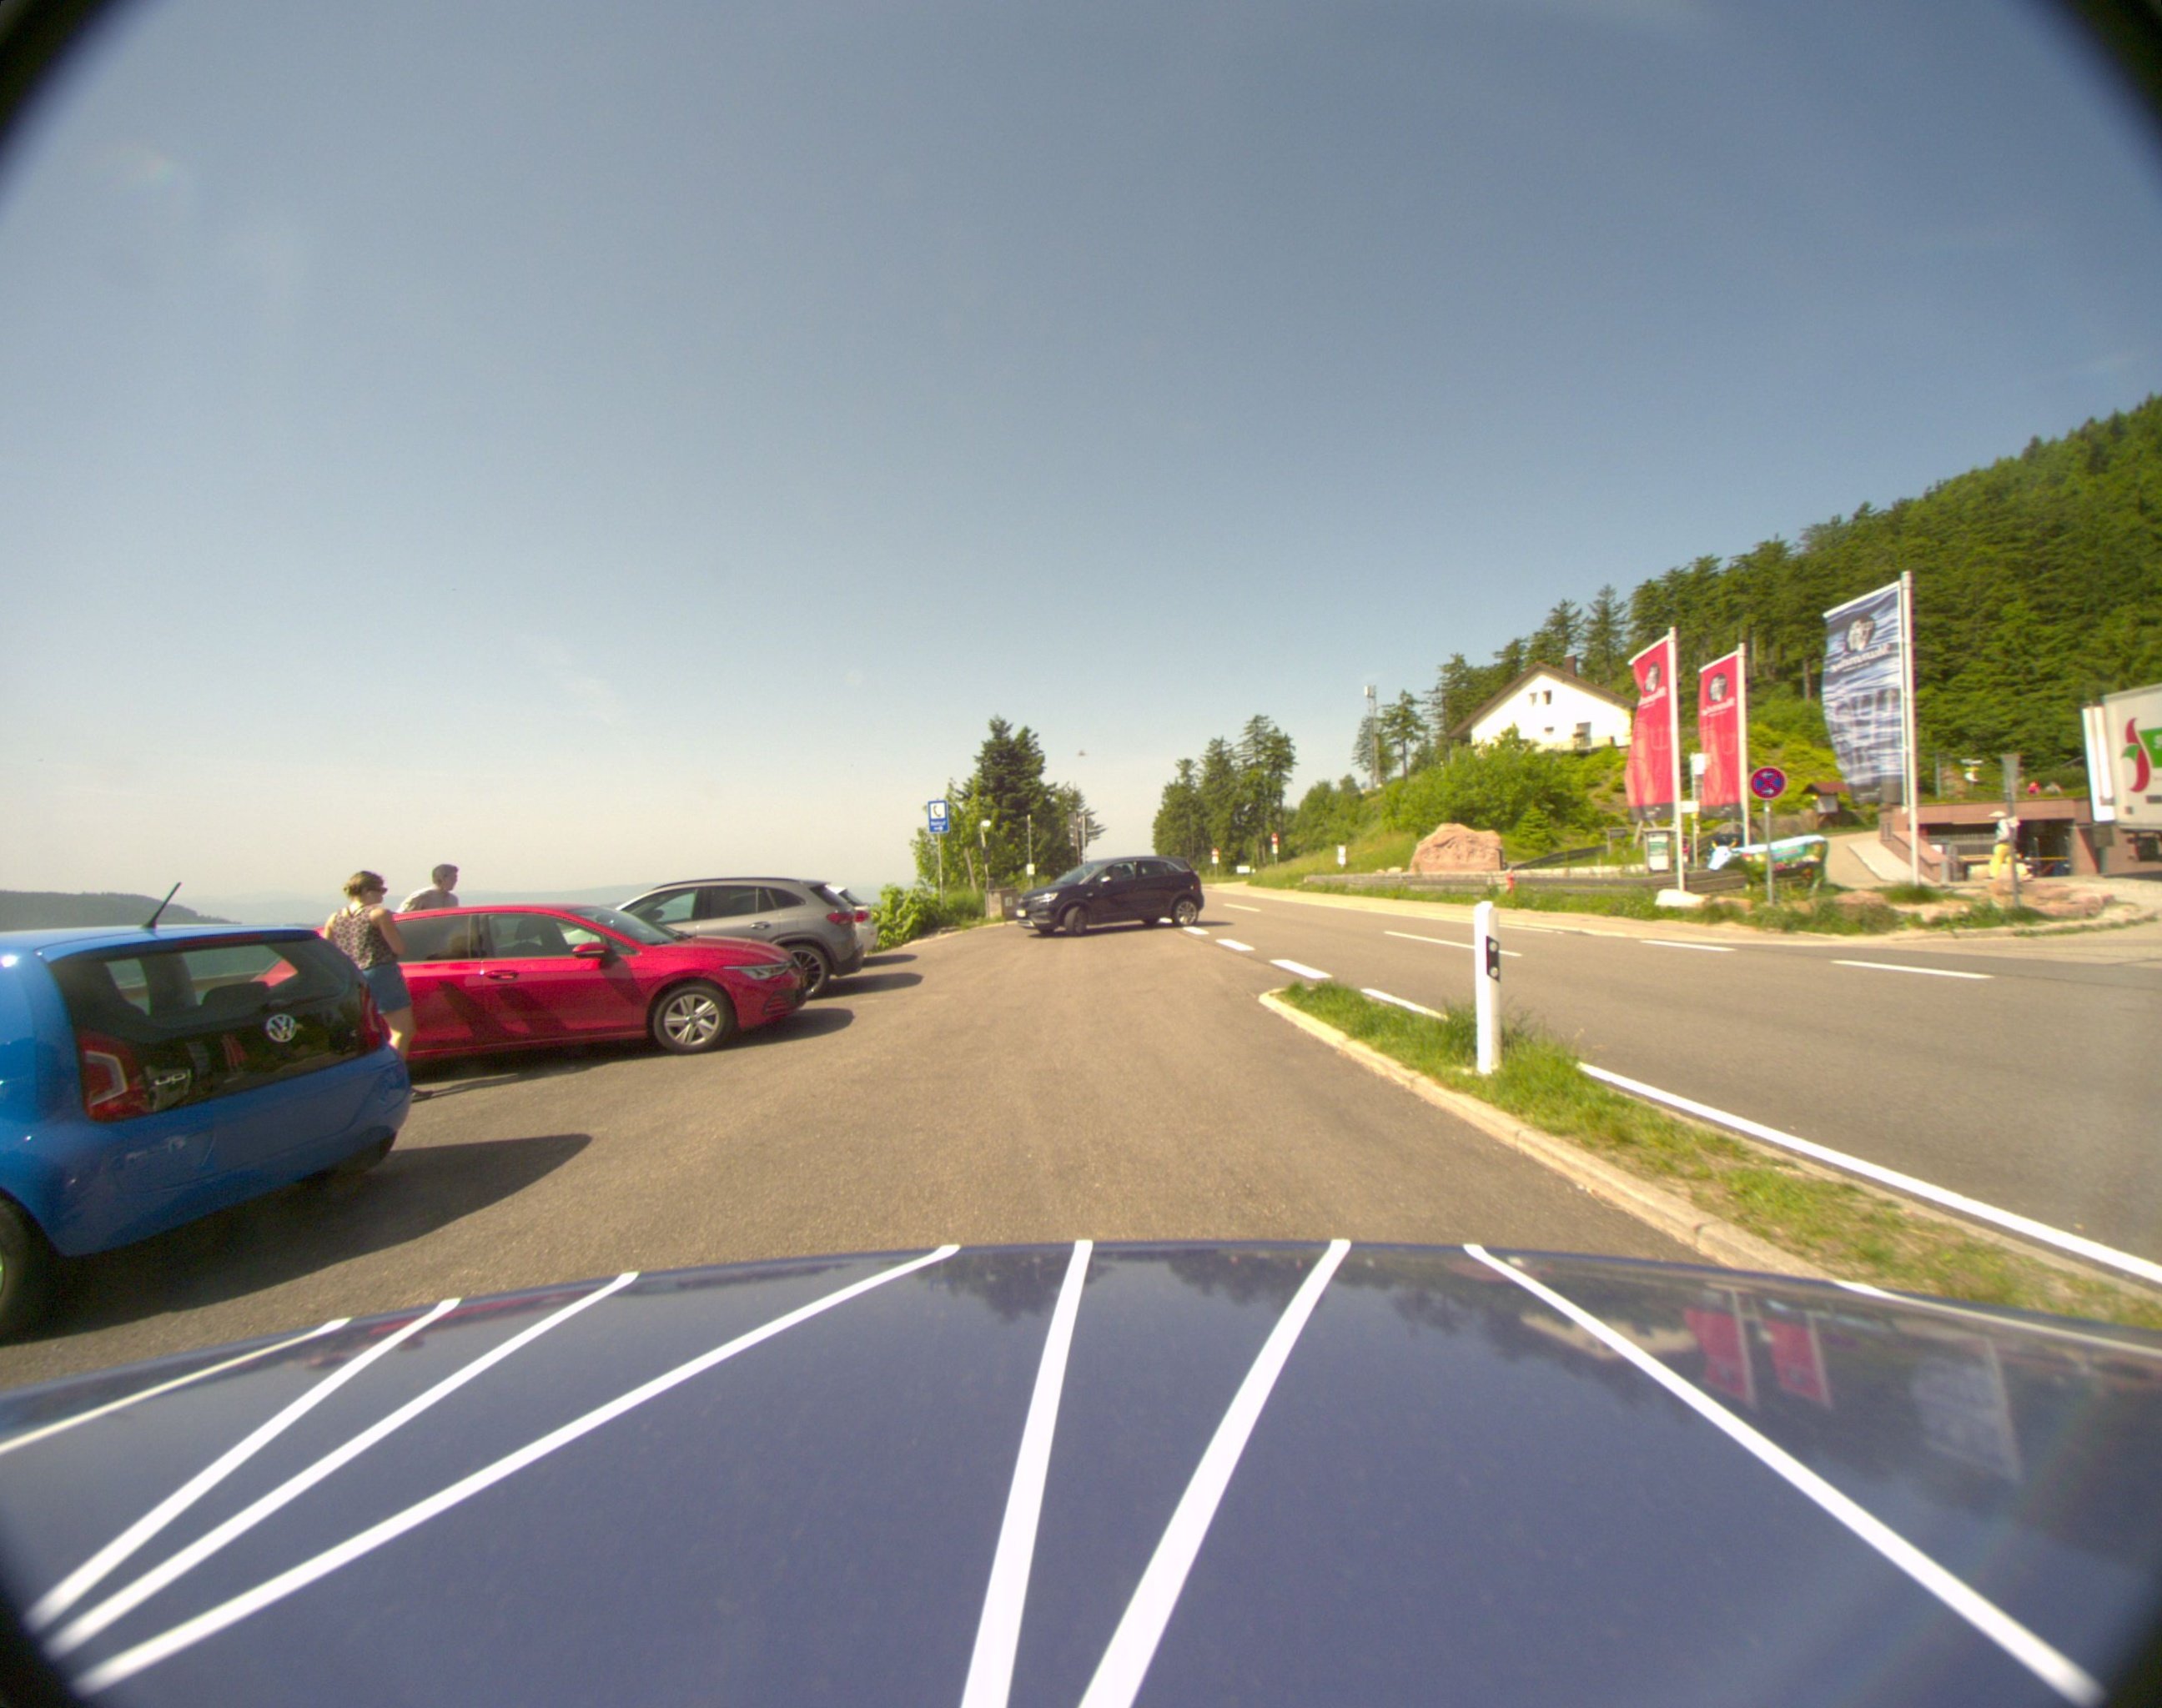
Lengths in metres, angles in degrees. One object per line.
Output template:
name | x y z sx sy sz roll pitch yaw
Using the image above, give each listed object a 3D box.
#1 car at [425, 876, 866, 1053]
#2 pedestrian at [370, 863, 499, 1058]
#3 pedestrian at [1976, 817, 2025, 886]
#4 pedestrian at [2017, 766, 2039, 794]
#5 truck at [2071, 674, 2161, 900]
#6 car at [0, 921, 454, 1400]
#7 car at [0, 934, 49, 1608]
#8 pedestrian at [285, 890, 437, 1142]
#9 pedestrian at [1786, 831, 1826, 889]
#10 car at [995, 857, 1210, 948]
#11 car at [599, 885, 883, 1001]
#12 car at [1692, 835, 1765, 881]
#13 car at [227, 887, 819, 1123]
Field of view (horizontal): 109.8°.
car | -5.075 1.228 9.626 4.413 1.559 1.905 -4 0 -16
pedestrian | -6.690 1.062 7.896 0.610 1.889 0.678 -5 1 -6
pedestrian | 22.772 -0.051 18.827 0.574 1.679 0.654 -1 0 31
pedestrian | 55.653 -4.350 44.653 0.573 1.533 0.633 -9 -1 43
truck | 19.197 -1.160 10.900 3.062 3.949 8.785 -4 0 32
car | -5.286 1.242 3.291 3.591 1.487 1.647 -5 0 -4
car | -4.423 1.094 0.591 4.000 1.604 1.915 -4 0 -10
pedestrian | -5.326 1.153 5.659 0.505 1.715 0.566 -5 1 -17
pedestrian | 21.738 0.185 22.802 0.697 1.706 0.800 -1 0 31
car | 0.468 0.944 16.439 4.155 1.607 1.982 -2 0 -26
car | -5.406 1.388 12.632 4.001 1.377 1.655 -4 0 -14
car | 25.605 0.122 30.011 1.874 1.347 4.005 -1 5 45
car | -4.693 1.198 7.126 4.001 1.501 1.840 -3 -1 -14
